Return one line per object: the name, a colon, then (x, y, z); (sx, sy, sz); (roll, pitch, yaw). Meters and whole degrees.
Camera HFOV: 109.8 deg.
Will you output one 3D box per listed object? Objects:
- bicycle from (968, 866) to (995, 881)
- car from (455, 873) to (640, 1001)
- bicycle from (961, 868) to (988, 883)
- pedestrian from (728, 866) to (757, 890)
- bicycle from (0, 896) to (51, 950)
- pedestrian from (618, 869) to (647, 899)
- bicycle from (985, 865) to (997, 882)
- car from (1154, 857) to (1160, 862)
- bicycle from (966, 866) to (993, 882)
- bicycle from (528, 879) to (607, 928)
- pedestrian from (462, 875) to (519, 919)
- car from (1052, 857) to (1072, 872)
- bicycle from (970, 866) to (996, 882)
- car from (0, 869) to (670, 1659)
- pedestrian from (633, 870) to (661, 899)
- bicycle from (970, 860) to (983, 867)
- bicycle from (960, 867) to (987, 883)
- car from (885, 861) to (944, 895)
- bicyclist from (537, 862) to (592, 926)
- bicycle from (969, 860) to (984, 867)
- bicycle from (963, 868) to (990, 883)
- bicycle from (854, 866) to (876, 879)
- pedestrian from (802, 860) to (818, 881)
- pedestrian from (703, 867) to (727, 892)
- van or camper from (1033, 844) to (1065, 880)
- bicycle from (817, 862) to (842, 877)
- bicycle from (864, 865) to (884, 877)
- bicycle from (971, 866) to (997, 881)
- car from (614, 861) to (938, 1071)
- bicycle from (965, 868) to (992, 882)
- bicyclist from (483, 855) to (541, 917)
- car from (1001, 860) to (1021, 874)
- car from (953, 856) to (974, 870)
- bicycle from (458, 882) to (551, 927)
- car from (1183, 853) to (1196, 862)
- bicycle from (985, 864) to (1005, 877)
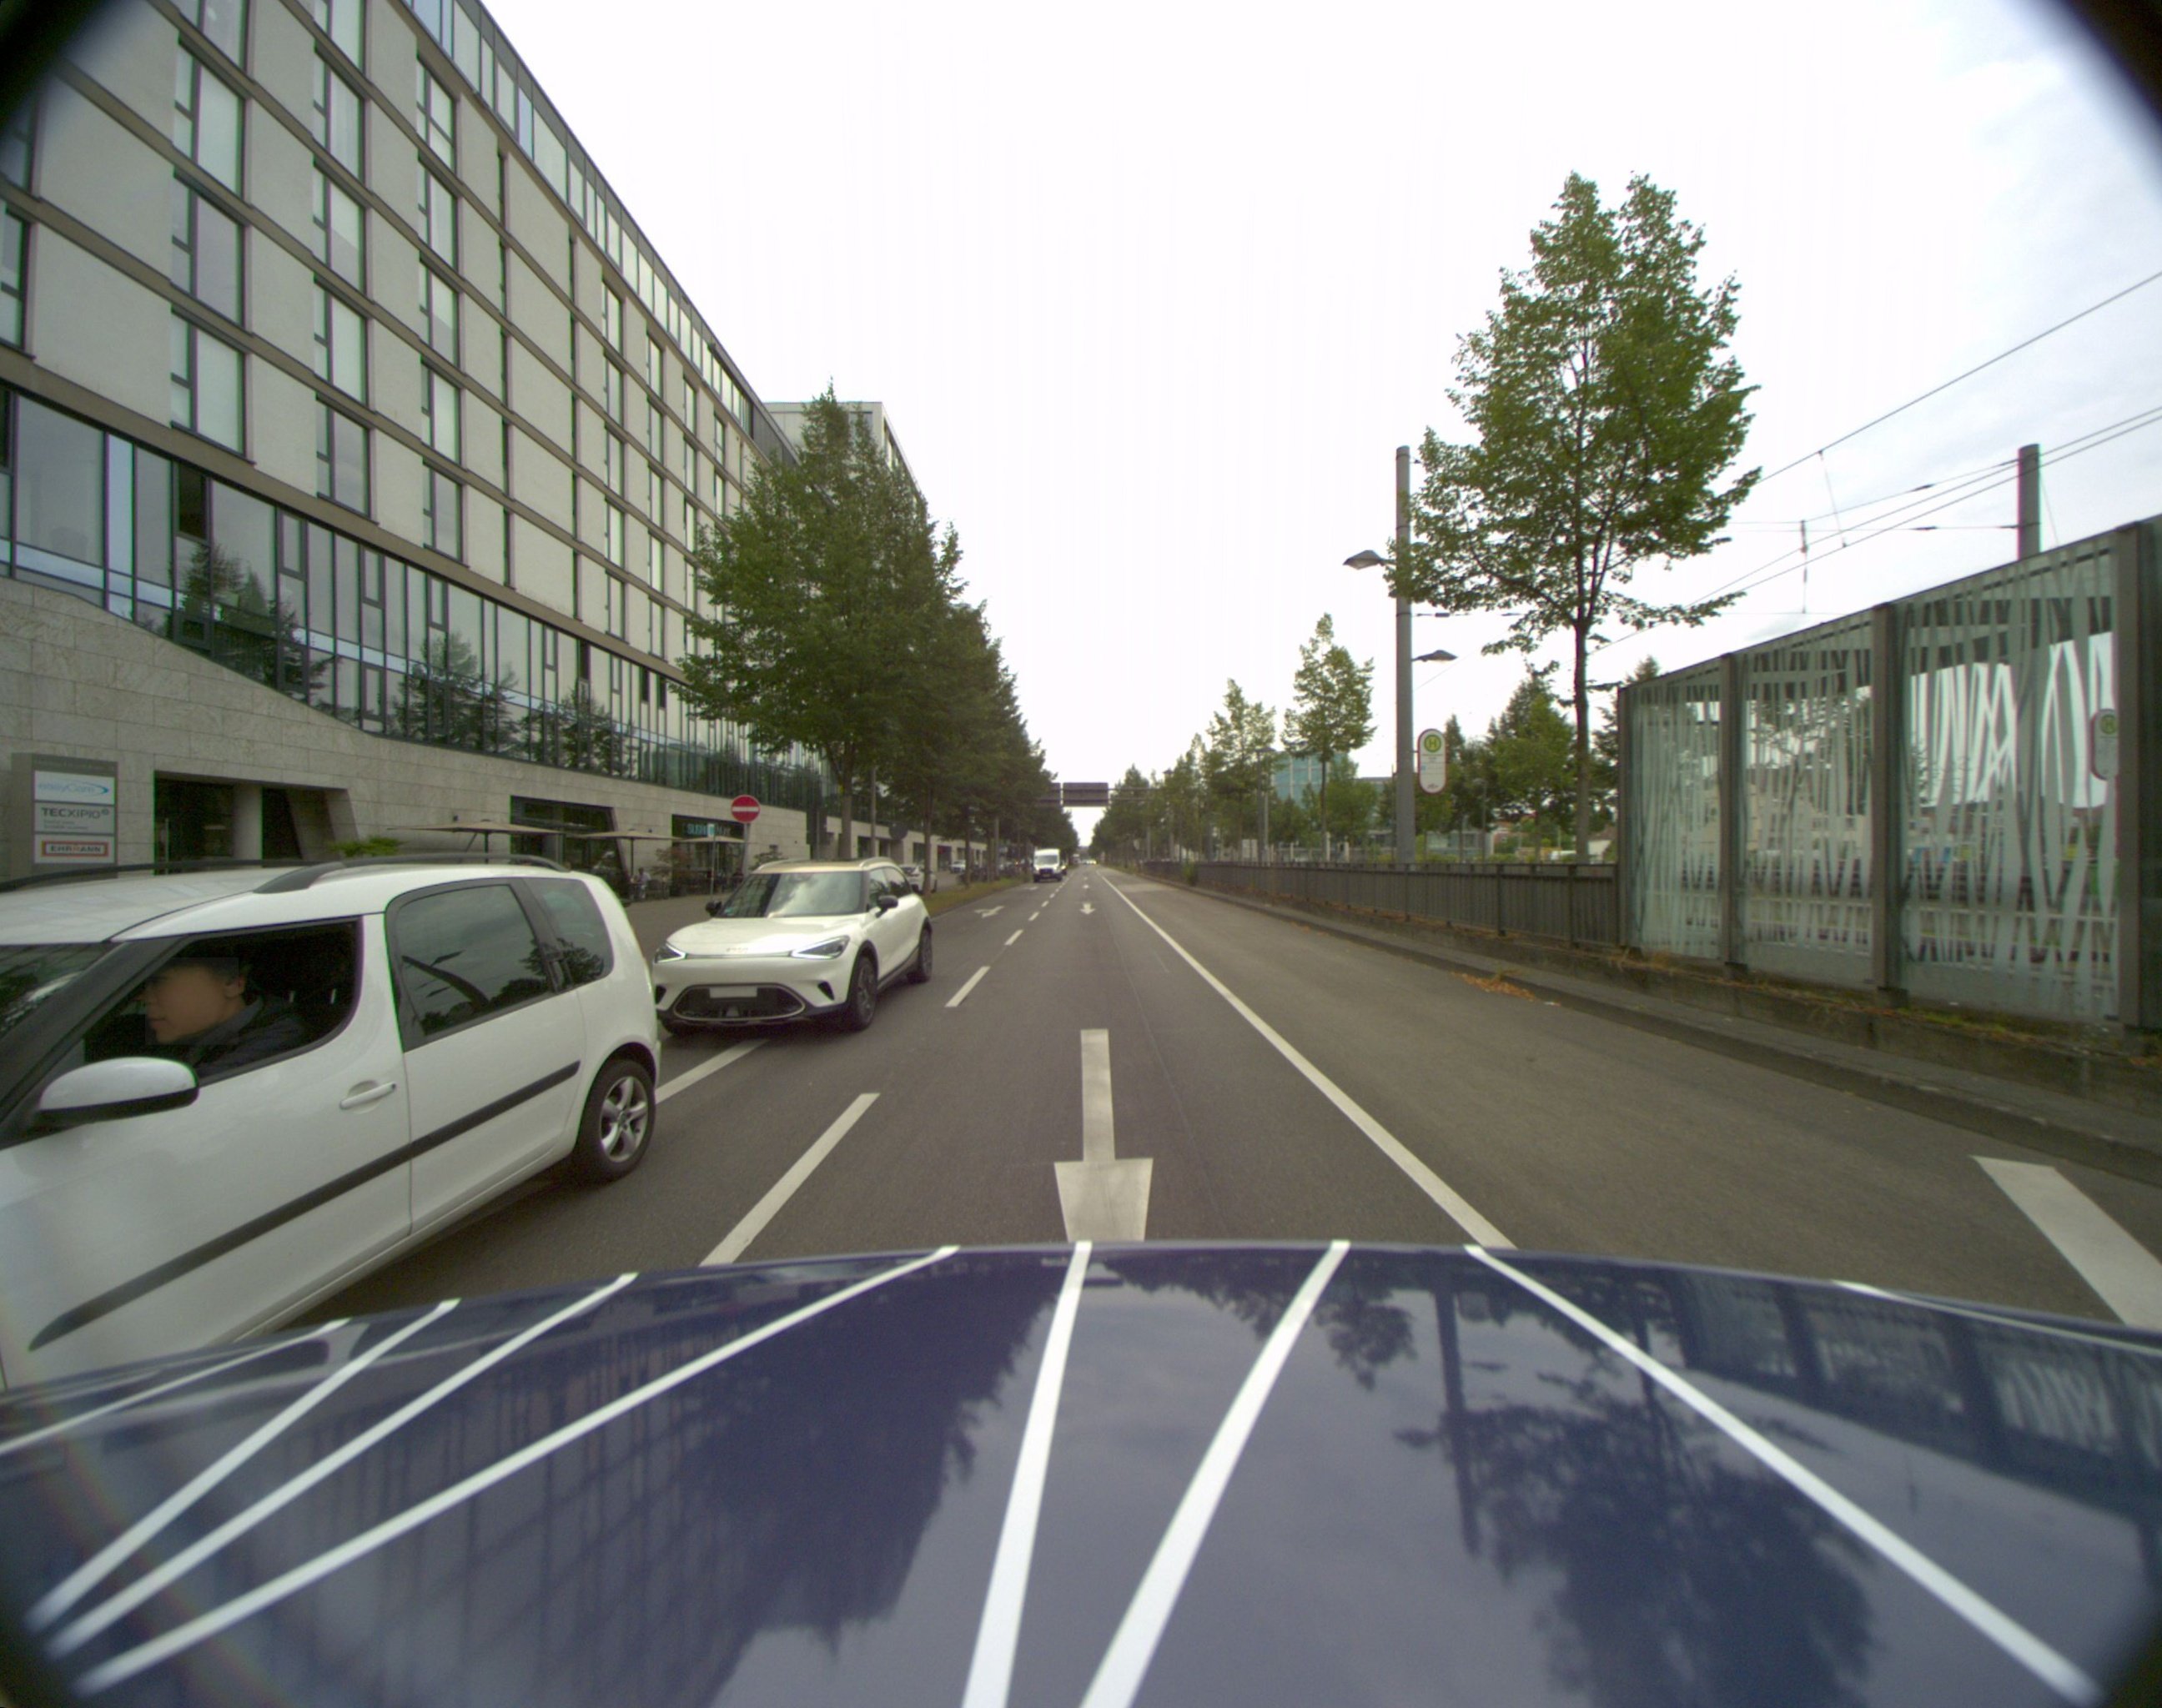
bicycle: (-7.540, 1.492, 57.863); (1.935, 1.059, 0.641); (-4, 0, -3)
car: (-8.220, 1.086, 11.869); (1.951, 1.467, 4.858); (0, 0, -34)
bicycle: (-7.687, 1.561, 54.921); (1.865, 0.945, 0.501); (-4, 0, -3)
pedestrian: (-17.242, 1.218, 38.719); (0.773, 1.185, 1.107); (0, 0, 16)
bicycle: (-18.795, 1.201, 12.909); (0.519, 0.905, 1.493); (0, 0, 1)
pedestrian: (-18.122, 1.214, 30.711); (0.720, 1.185, 0.759); (0, 0, 0)
bicycle: (-6.113, 1.311, 51.496); (0.712, 1.109, 2.202); (-4, 0, -7)
car: (24.079, 1.760, 241.338); (1.752, 1.448, 3.865); (-1, 0, 2)
bicycle: (-7.620, 1.499, 57.103); (1.935, 1.059, 0.705); (-4, 0, -3)
bicycle: (-13.241, 1.249, 19.659); (0.675, 1.136, 2.007); (0, 0, 0)
pedestrian: (-17.098, 1.225, 22.020); (0.899, 1.221, 0.950); (0, 0, 5)
car: (-1.999, 1.092, 81.475); (1.973, 1.528, 4.139); (0, 0, 1)
bicycle: (-7.579, 1.523, 58.594); (1.936, 1.059, 0.543); (-4, 0, -8)
car: (-3.193, 0.902, 2.183); (1.783, 1.647, 4.023); (0, 0, 1)
pedestrian: (-18.103, 1.260, 31.688); (0.720, 1.185, 0.759); (0, 0, 2)
bicycle: (-17.638, 1.658, 128.206); (2.238, 1.170, 0.975); (-1, 0, -7)
bicycle: (-7.670, 1.491, 54.254); (1.865, 0.989, 0.574); (-4, 0, -3)
car: (-8.209, 1.139, 37.886); (1.943, 1.543, 4.593); (-1, 0, 0)
bicyclist: (-13.286, 1.015, 19.568); (0.726, 1.573, 0.989); (1, 1, 0)
bicycle: (-17.834, 1.661, 129.433); (2.426, 1.170, 1.202); (-1, 0, -7)
bicycle: (-7.673, 1.558, 55.670); (1.865, 0.945, 0.652); (-4, 0, -3)
bicycle: (-17.184, 1.441, 60.582); (1.602, 1.020, 0.533); (0, 0, -3)
pedestrian: (-17.692, 1.079, 49.583); (0.758, 1.398, 0.721); (0, 0, 8)
pedestrian: (-17.942, 1.260, 37.290); (0.719, 1.185, 0.760); (0, 0, 23)
van or camper: (-2.368, 0.589, 58.097); (2.184, 2.493, 6.339); (-2, 0, 0)
bicycle: (-17.601, 1.104, 53.180); (1.605, 1.020, 0.609); (0, 0, -27)
bicycle: (-17.501, 1.448, 64.283); (1.533, 1.020, 0.533); (0, 0, -3)
bicycle: (-7.564, 1.522, 59.173); (1.936, 1.059, 0.543); (-4, 0, -8)
car: (-2.887, 0.942, 8.257); (1.783, 1.647, 4.023); (-2, 0, 1)
bicycle: (-7.634, 1.553, 56.412); (1.865, 0.945, 0.612); (-4, 0, -3)
bicyclist: (-14.930, 0.819, 19.953); (0.726, 1.573, 0.990); (1, 1, 9)
car: (-7.739, 1.440, 84.357); (1.765, 1.413, 4.183); (-1, 0, 1)
car: (-14.191, 1.064, 92.141); (1.862, 1.579, 4.240); (2, 0, 1)
bicycle: (-14.960, 1.294, 19.798); (0.674, 1.036, 2.009); (2, 0, 9)
car: (23.511, 0.828, 164.448); (1.998, 1.932, 5.096); (-1, 0, 0)
bicycle: (-7.556, 1.469, 66.935); (1.672, 1.084, 0.525); (-3, 0, -3)
